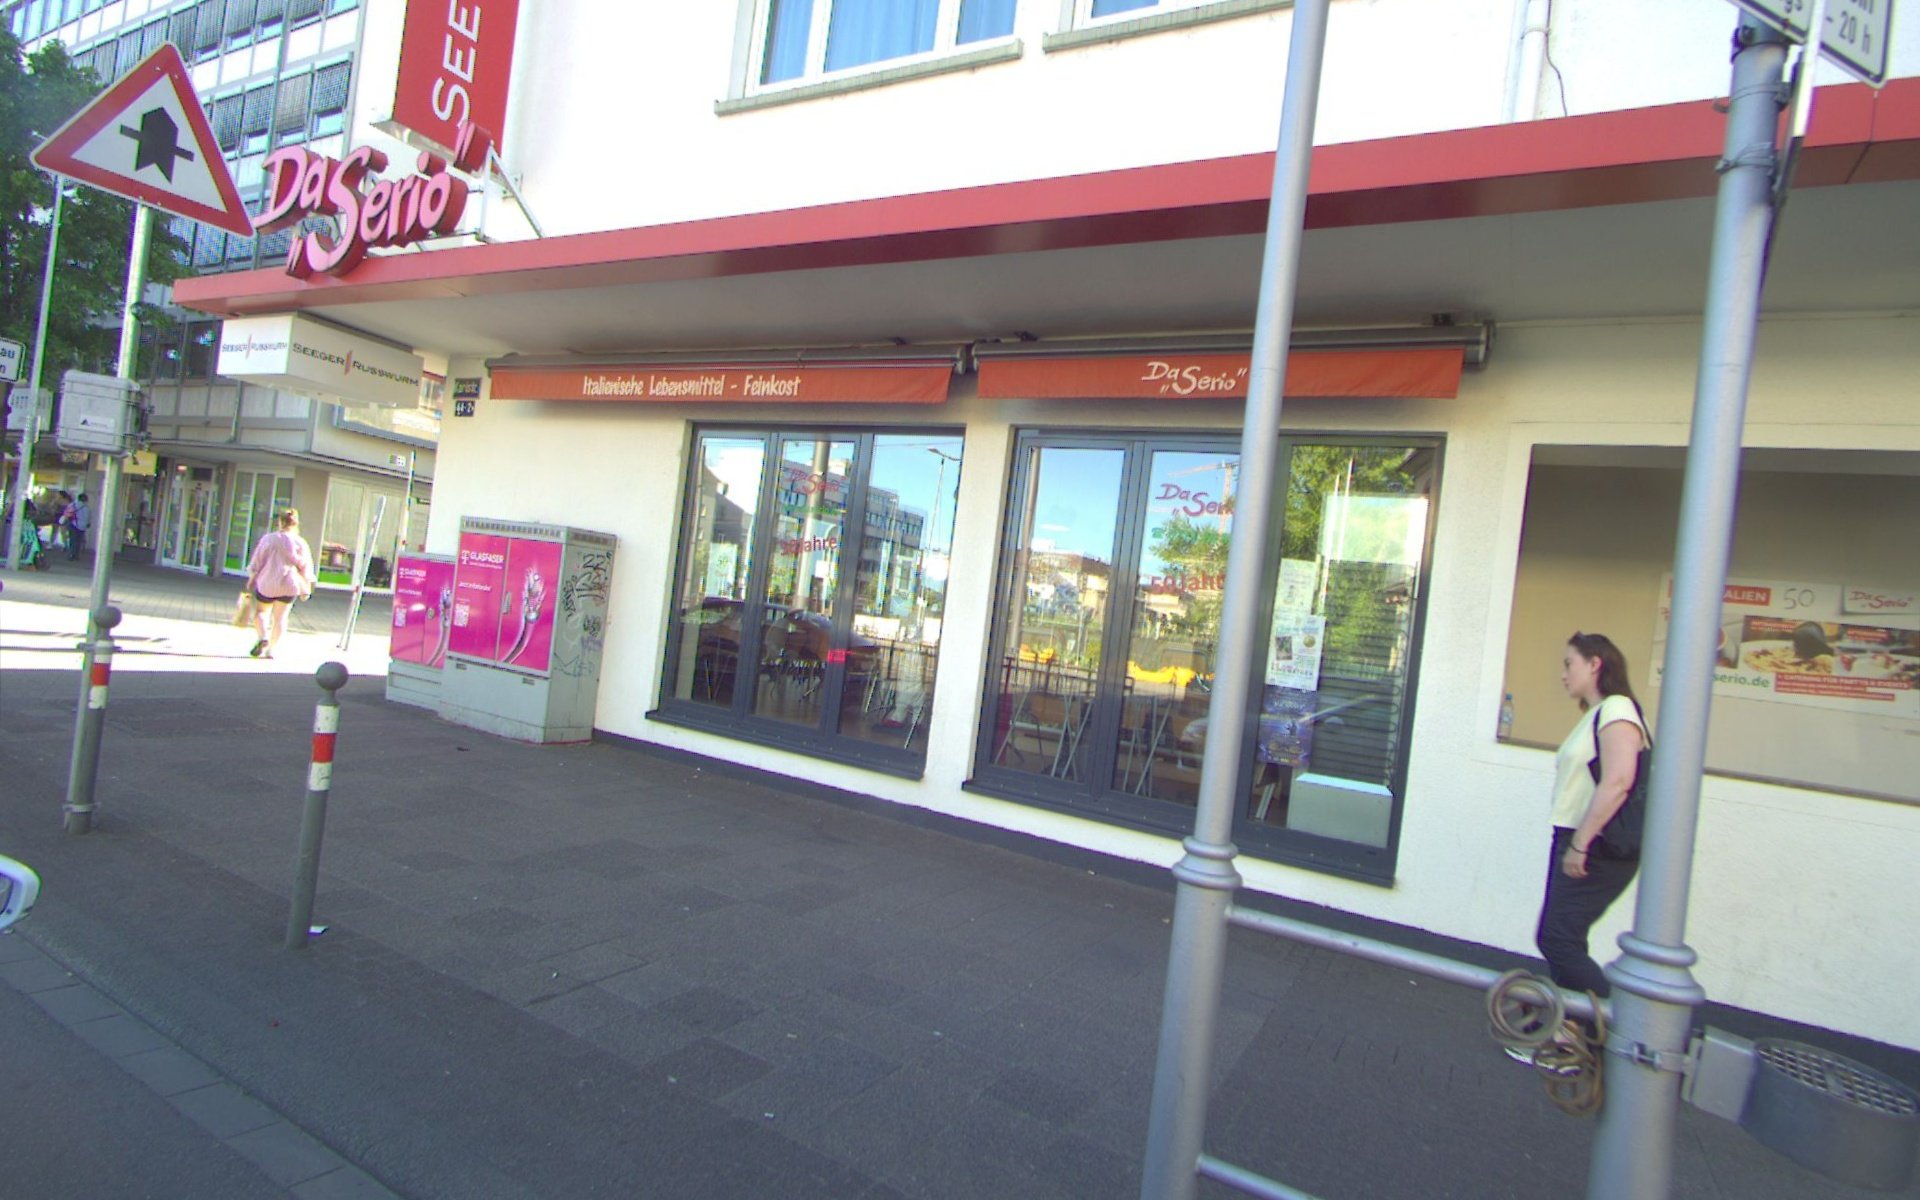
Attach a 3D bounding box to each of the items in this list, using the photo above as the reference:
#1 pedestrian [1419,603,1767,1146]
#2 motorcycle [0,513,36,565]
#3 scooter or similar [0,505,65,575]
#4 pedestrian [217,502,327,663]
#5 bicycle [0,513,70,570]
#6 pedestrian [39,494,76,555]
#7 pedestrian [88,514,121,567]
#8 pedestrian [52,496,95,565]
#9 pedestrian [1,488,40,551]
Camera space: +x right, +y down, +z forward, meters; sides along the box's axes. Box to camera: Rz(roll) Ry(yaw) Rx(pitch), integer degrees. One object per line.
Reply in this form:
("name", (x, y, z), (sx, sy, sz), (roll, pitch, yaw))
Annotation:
("pedestrian", (2.521, 0.983, 4.057), (0.918, 1.796, 0.804), (7, 0, 35))
("motorcycle", (-23.333, -1.569, 23.774), (0.586, 1.140, 1.997), (7, -4, 30))
("scooter or similar", (-19.882, -1.279, 21.140), (0.683, 1.332, 1.415), (6, -2, 5))
("pedestrian", (-7.966, -0.191, 11.649), (0.814, 1.701, 0.707), (10, -3, -37))
("bicycle", (-21.621, -1.382, 22.772), (0.475, 1.134, 2.056), (7, -2, 31))
("pedestrian", (-26.213, -2.192, 29.220), (0.584, 1.661, 0.532), (7, 0, 32))
("pedestrian", (-22.466, -1.560, 26.412), (0.522, 1.296, 0.420), (7, 0, 32))
("pedestrian", (-22.862, -1.791, 25.953), (0.458, 1.661, 0.596), (7, 0, 31))
("pedestrian", (-26.405, -2.264, 28.280), (0.596, 1.661, 0.532), (7, 0, 32))
